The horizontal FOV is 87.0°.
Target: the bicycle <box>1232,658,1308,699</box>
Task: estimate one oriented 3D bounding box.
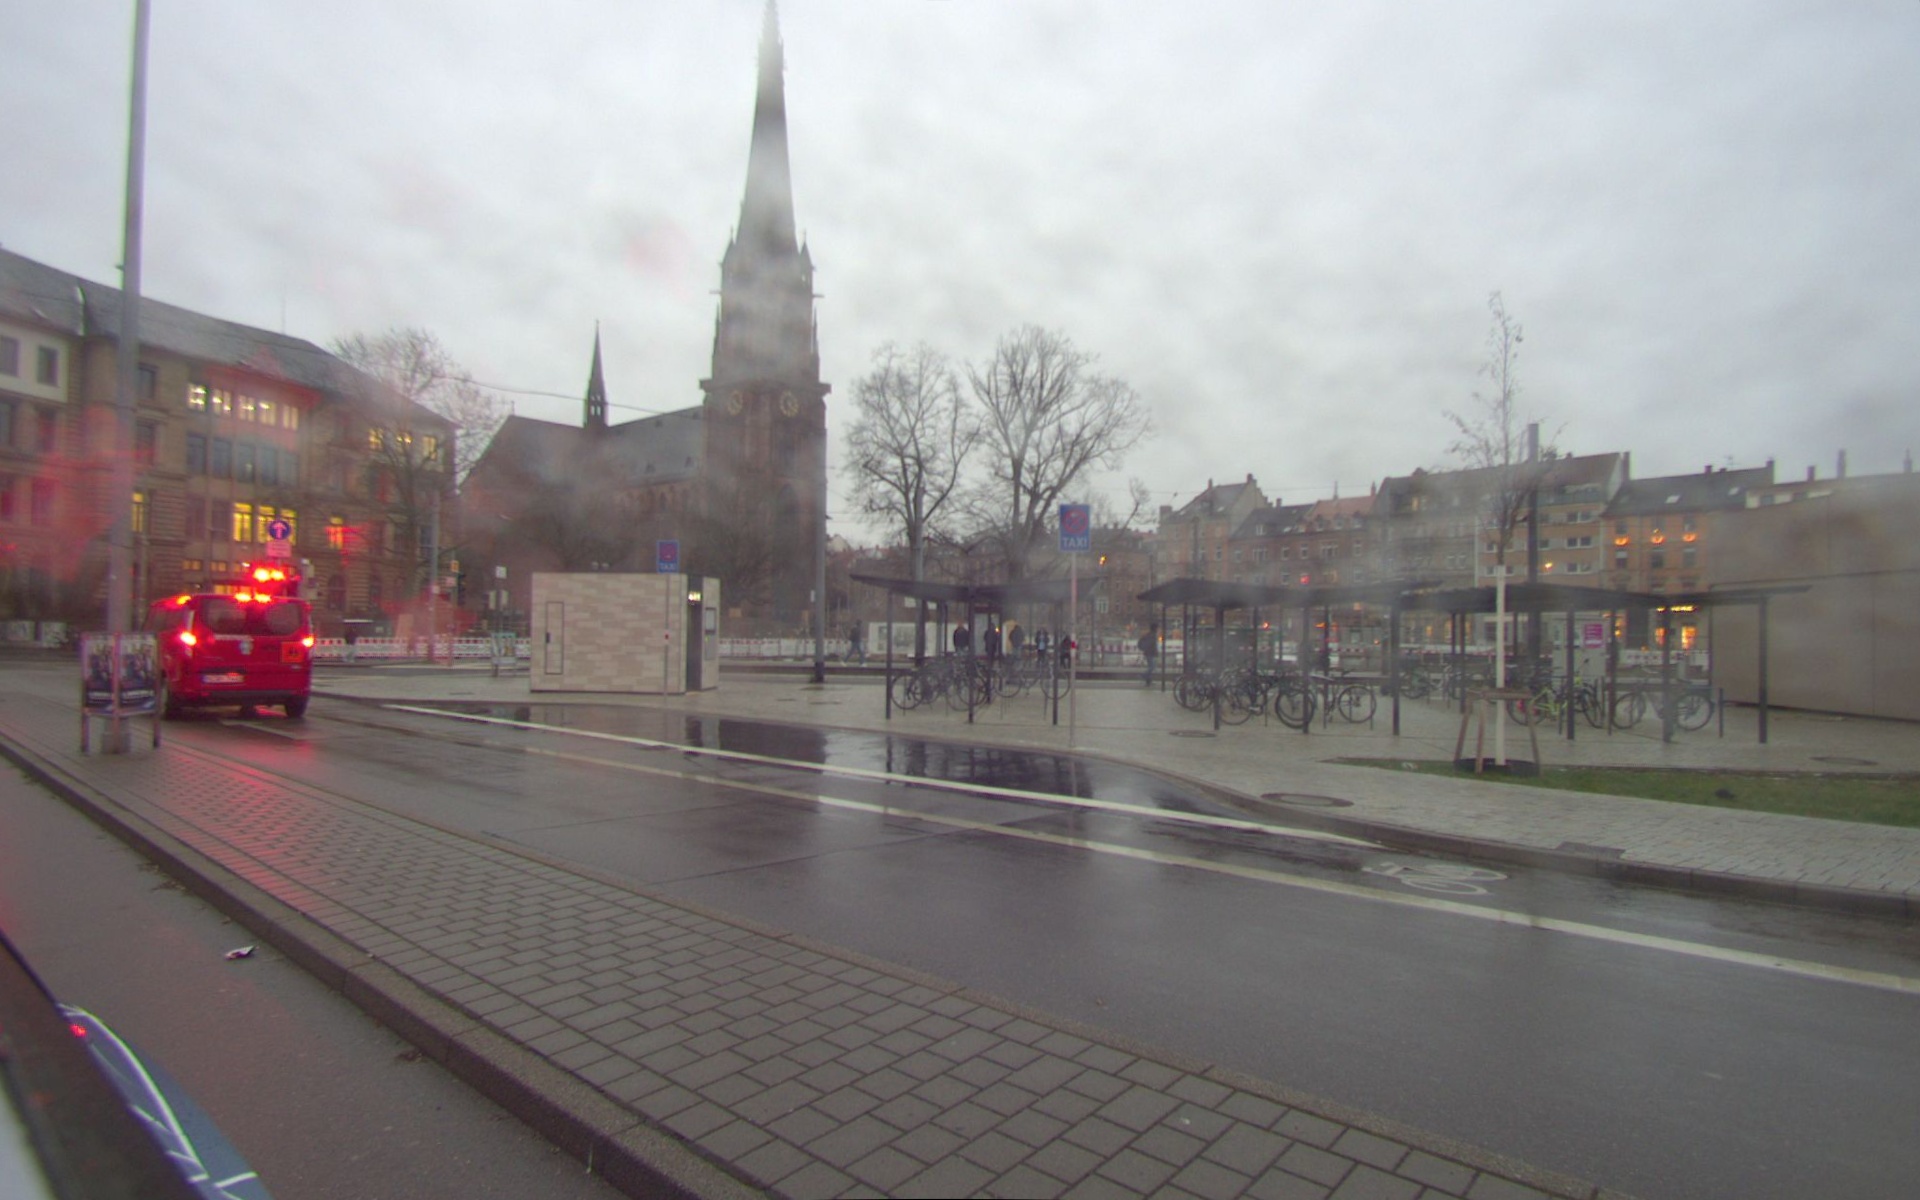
[{"bbox_3d":[7.665,1.940,25.072,1.729,0.946,0.474,1,-1,7],"label":"bicycle"}]

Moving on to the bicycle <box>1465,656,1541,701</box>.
[{"bbox_3d":[13.235,1.914,24.666,1.551,1.044,0.521,1,-1,1],"label":"bicycle"}]

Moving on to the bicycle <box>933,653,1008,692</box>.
[{"bbox_3d":[0.273,1.866,26.127,1.905,0.917,0.473,1,-1,11],"label":"bicycle"}]

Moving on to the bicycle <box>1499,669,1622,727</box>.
[{"bbox_3d":[11.128,1.812,18.785,1.905,0.983,0.473,1,-1,11],"label":"bicycle"}]

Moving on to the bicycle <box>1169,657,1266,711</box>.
[{"bbox_3d":[5.433,1.771,21.402,1.899,1.078,0.474,1,-1,2],"label":"bicycle"}]

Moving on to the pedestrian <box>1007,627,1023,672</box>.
[{"bbox_3d":[2.070,1.853,38.115,0.543,1.648,0.571,-1,0,-1],"label":"pedestrian"}]

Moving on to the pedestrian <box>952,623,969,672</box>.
[{"bbox_3d":[0.006,1.800,38.579,0.619,1.808,0.672,-1,0,-1],"label":"pedestrian"}]

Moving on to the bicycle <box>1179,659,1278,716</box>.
[{"bbox_3d":[5.447,1.772,20.619,1.905,1.078,0.473,1,-1,11],"label":"bicycle"}]

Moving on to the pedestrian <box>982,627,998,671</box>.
[{"bbox_3d":[1.150,1.857,38.653,0.556,1.664,0.540,-1,0,-1],"label":"pedestrian"}]

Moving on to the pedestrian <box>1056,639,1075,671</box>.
[{"bbox_3d":[3.983,2.070,38.325,0.610,1.165,0.806,-1,0,-1],"label":"pedestrian"}]

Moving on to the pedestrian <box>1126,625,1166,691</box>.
[{"bbox_3d":[5.150,1.596,28.045,1.056,1.778,1.008,0,-3,10],"label":"pedestrian"}]

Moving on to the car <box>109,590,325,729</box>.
[{"bbox_3d":[-12.907,0.985,17.466,4.640,2.086,1.904,-1,-4,40],"label":"car"}]

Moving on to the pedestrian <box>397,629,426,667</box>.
[{"bbox_3d":[-25.406,2.206,46.893,1.207,1.673,0.763,-1,0,39],"label":"pedestrian"}]

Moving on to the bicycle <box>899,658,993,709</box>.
[{"bbox_3d":[-0.285,1.732,21.105,1.905,0.993,0.473,1,-1,11],"label":"bicycle"}]

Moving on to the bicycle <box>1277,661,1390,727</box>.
[{"bbox_3d":[6.948,1.733,18.868,1.905,1.129,0.473,1,-1,11],"label":"bicycle"}]

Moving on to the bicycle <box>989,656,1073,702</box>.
[{"bbox_3d":[1.642,1.819,23.424,1.905,0.993,0.473,1,-1,11],"label":"bicycle"}]

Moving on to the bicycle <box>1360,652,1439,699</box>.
[{"bbox_3d":[11.187,1.922,25.803,1.780,1.116,0.473,1,-1,11],"label":"bicycle"}]

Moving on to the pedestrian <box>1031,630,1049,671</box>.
[{"bbox_3d":[3.036,1.908,38.333,0.580,1.513,0.675,-1,0,-1],"label":"pedestrian"}]

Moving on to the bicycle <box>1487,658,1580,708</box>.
[{"bbox_3d":[13.255,1.907,23.419,1.810,1.081,0.474,1,-1,8],"label":"bicycle"}]

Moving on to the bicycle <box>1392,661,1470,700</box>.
[{"bbox_3d":[11.623,1.989,24.993,1.672,0.898,0.474,1,-1,5],"label":"bicycle"}]

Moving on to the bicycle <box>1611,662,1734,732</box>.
[{"bbox_3d":[12.692,1.722,18.047,1.731,1.165,0.617,1,-1,1],"label":"bicycle"}]

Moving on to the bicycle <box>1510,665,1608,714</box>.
[{"bbox_3d":[12.903,1.917,21.832,1.751,0.963,0.473,1,-1,11],"label":"bicycle"}]

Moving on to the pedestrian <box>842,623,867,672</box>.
[{"bbox_3d":[-3.987,1.778,38.216,0.817,1.808,0.668,-1,0,7],"label":"pedestrian"}]

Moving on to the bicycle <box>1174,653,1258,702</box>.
[{"bbox_3d":[6.066,1.827,24.041,1.905,1.078,0.473,1,-1,11],"label":"bicycle"}]

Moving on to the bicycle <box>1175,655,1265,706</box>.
[{"bbox_3d":[5.852,1.806,22.851,1.905,1.078,0.473,1,-1,11],"label":"bicycle"}]

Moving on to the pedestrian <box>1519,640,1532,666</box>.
[{"bbox_3d":[44.958,4.189,80.417,0.579,2.029,0.707,3,-4,-40],"label":"pedestrian"}]

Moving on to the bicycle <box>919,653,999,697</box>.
[{"bbox_3d":[-0.012,1.826,24.870,1.905,0.993,0.473,1,-1,11],"label":"bicycle"}]

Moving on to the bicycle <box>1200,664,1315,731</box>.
[{"bbox_3d":[5.258,1.718,17.957,1.905,1.078,0.473,1,-1,11],"label":"bicycle"}]

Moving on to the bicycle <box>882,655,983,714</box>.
[{"bbox_3d":[-0.536,1.651,19.868,1.905,1.078,0.473,1,-1,11],"label":"bicycle"}]

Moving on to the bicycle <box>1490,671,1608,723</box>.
[{"bbox_3d":[11.369,1.860,19.573,1.905,0.898,0.473,1,-1,11],"label":"bicycle"}]

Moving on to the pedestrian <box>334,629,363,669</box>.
[{"bbox_3d":[-30.055,2.397,49.754,0.965,1.915,0.670,0,-3,17],"label":"pedestrian"}]
